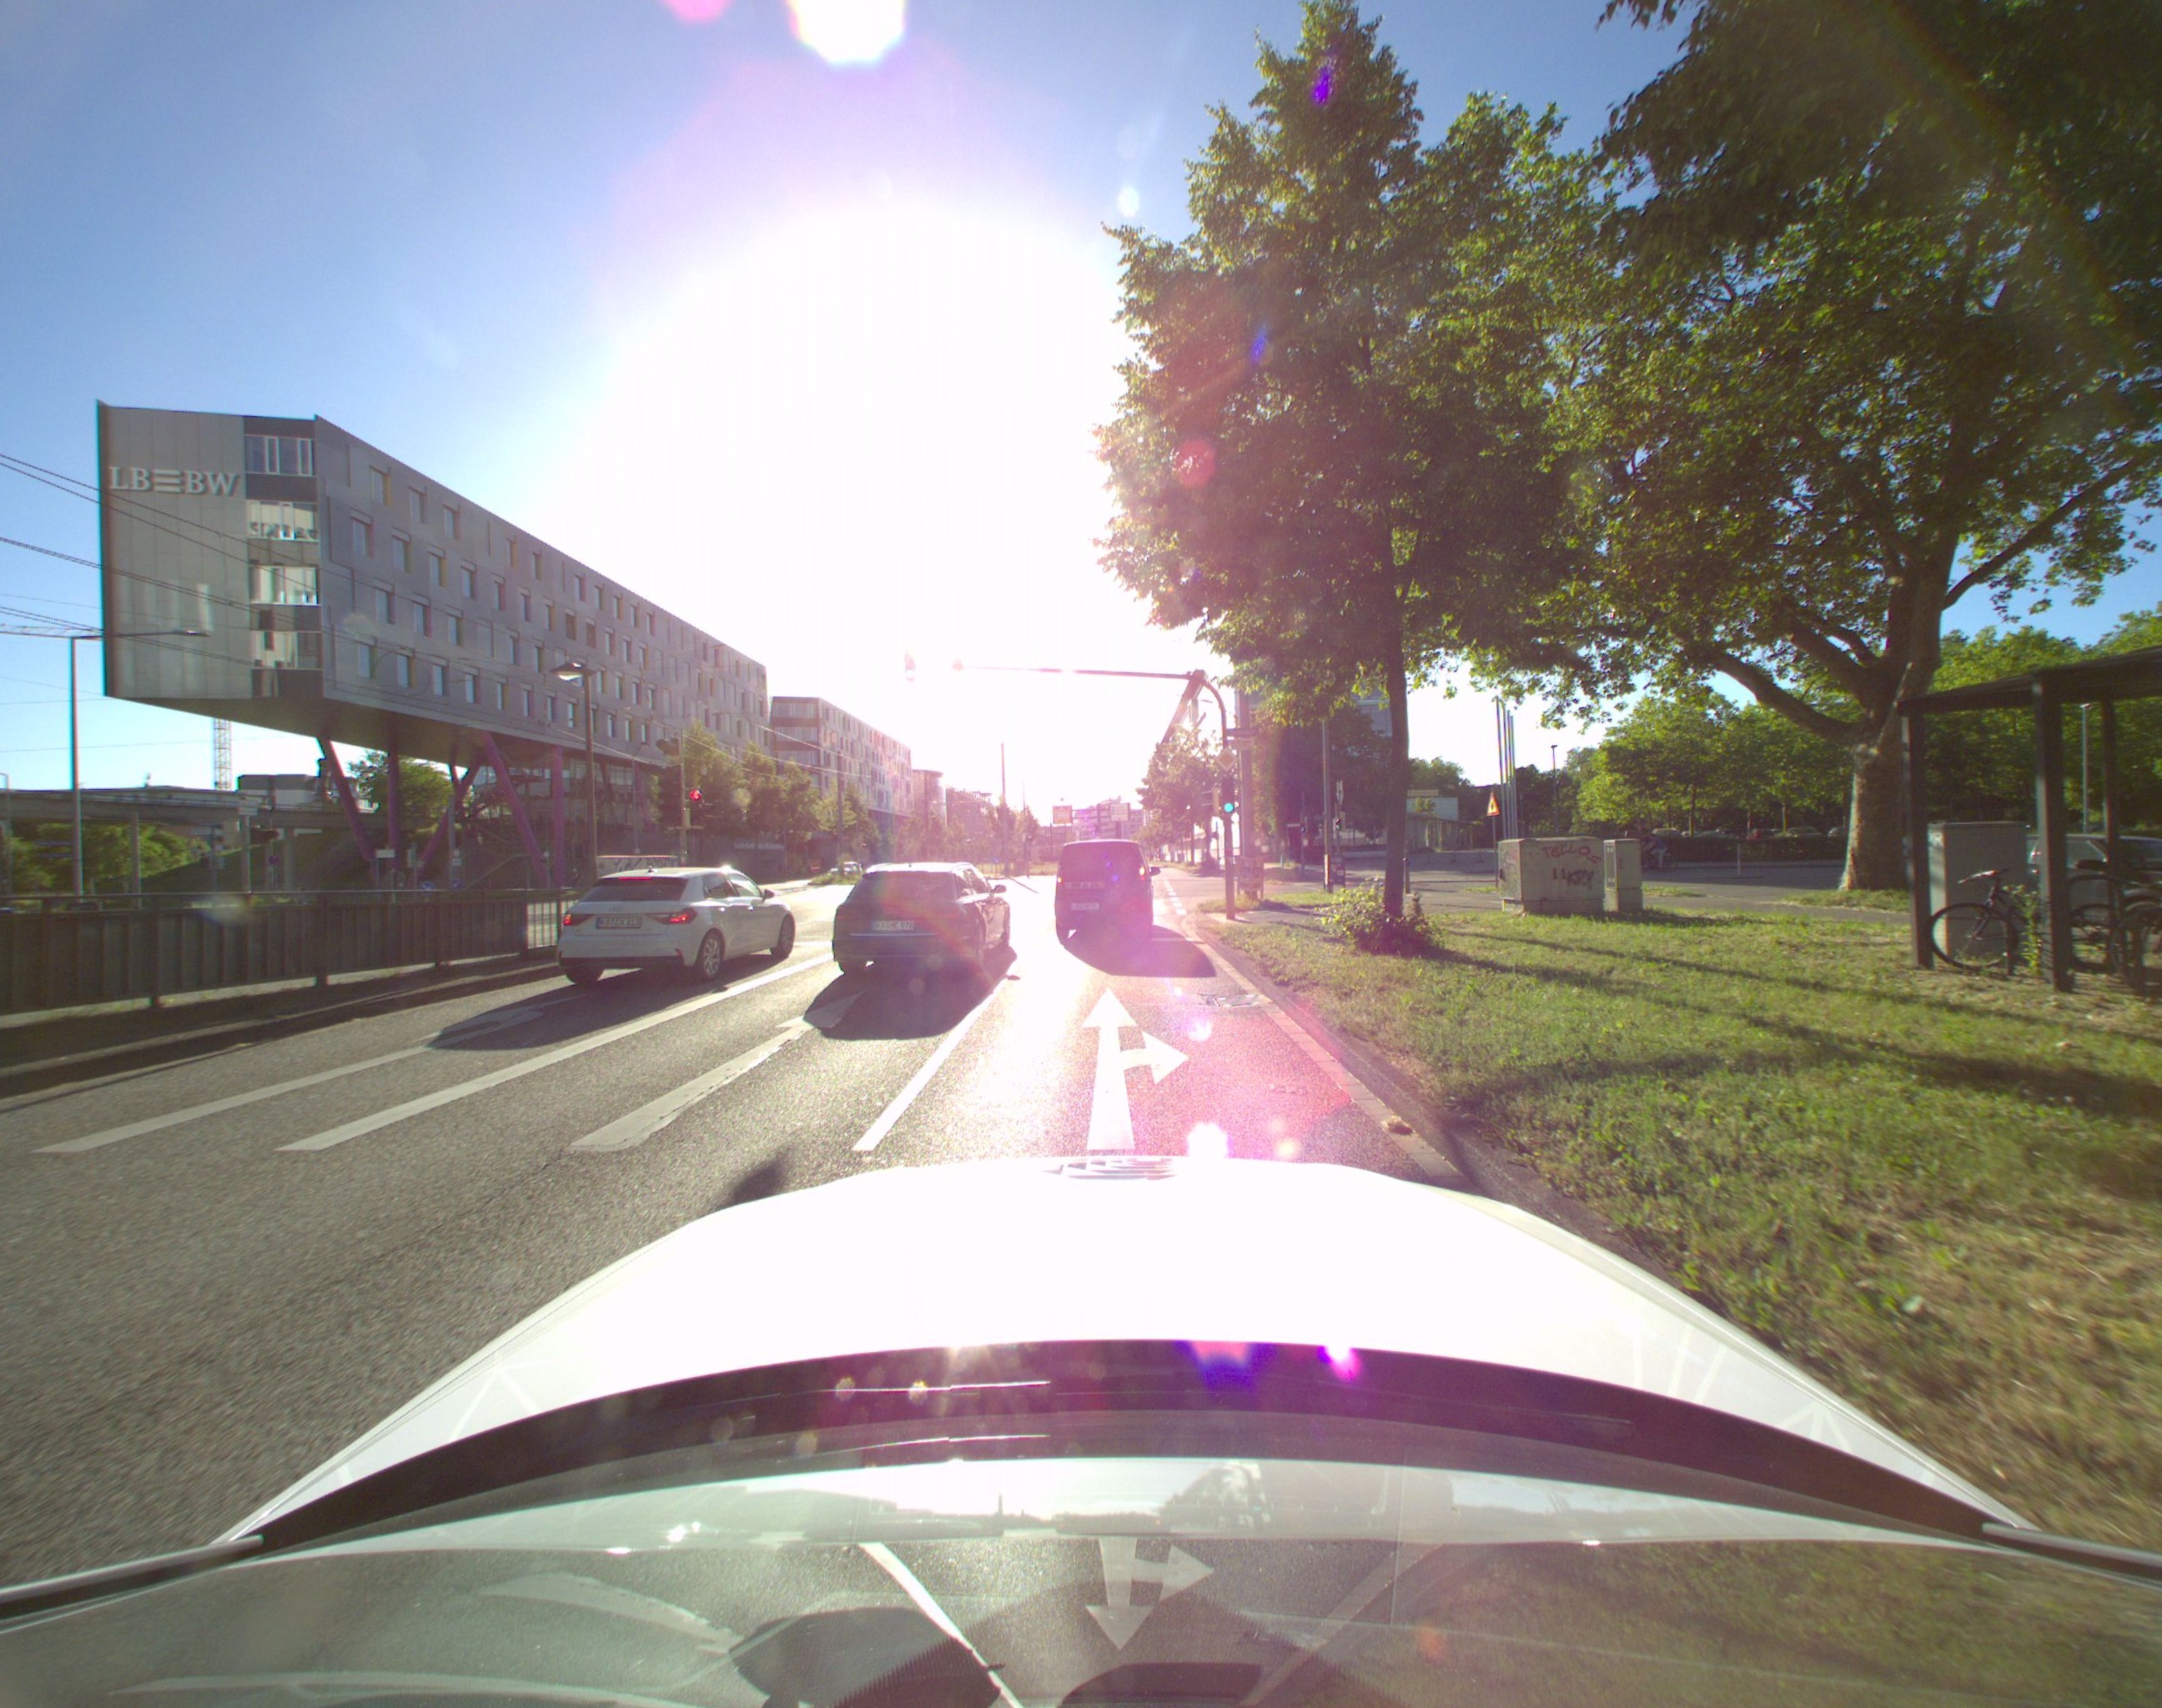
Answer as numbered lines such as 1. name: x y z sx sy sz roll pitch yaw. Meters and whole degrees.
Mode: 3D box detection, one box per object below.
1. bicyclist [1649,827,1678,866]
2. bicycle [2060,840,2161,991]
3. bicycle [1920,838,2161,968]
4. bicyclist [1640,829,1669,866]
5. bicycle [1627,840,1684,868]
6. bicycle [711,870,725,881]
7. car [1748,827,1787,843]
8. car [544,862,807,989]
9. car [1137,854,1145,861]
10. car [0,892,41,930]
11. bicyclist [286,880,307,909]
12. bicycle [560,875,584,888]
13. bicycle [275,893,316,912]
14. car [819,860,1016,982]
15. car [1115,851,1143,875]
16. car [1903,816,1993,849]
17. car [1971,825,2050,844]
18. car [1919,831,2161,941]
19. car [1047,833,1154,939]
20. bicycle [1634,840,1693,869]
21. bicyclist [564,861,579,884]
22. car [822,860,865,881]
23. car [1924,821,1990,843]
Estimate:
1. bicyclist: 26.322 -0.336 36.821 0.867 1.737 0.837 -2 0 22
2. bicycle: 9.108 0.464 6.549 1.688 1.169 0.552 -1 0 4
3. bicycle: 9.158 0.451 7.702 1.685 1.169 0.553 -1 0 10
4. bicyclist: 26.575 -0.295 37.755 0.867 1.653 0.797 -2 0 22
5. bicycle: 26.596 0.018 37.721 2.079 1.203 0.554 -2 0 21
6. bicycle: -39.545 2.347 88.770 0.518 1.172 1.976 -2 0 2
7. car: 64.959 -1.814 77.112 1.975 1.465 4.024 -1 1 27
8. car: -5.373 0.848 11.436 1.666 1.426 4.005 0 0 0
9. car: 15.182 0.893 206.384 1.846 1.481 4.855 -4 0 1
10. car: -48.769 2.565 35.694 3.968 1.565 2.003 -2 0 5
11. bicyclist: -39.380 2.033 40.882 0.480 1.423 0.552 -2 0 -4
12. bicycle: -37.816 2.031 60.489 0.525 0.863 1.835 -2 0 3
13. bicycle: -39.369 2.411 40.819 0.480 0.863 1.690 -2 0 -4
14. car: -2.139 0.814 12.077 1.805 1.427 4.692 0 0 2
15. car: 3.311 0.605 57.090 1.845 1.546 4.002 0 0 2
16. car: 41.922 -1.028 39.486 1.974 1.465 4.025 -1 1 31
17. car: 75.340 -1.574 66.064 3.968 1.465 2.003 -1 1 5
18. car: 15.419 0.406 12.151 1.885 1.465 4.042 -1 0 5
19. car: 0.515 0.557 16.144 1.839 1.814 4.120 0 0 5
20. bicycle: 26.310 0.026 36.835 2.078 1.203 0.554 -2 0 22
21. bicyclist: -37.838 1.364 60.524 0.527 1.726 0.838 -2 0 3
22. car: -19.458 1.352 67.034 1.987 1.562 4.872 -2 0 1
23. car: 62.679 -1.538 58.357 1.975 1.465 4.024 -1 1 27
